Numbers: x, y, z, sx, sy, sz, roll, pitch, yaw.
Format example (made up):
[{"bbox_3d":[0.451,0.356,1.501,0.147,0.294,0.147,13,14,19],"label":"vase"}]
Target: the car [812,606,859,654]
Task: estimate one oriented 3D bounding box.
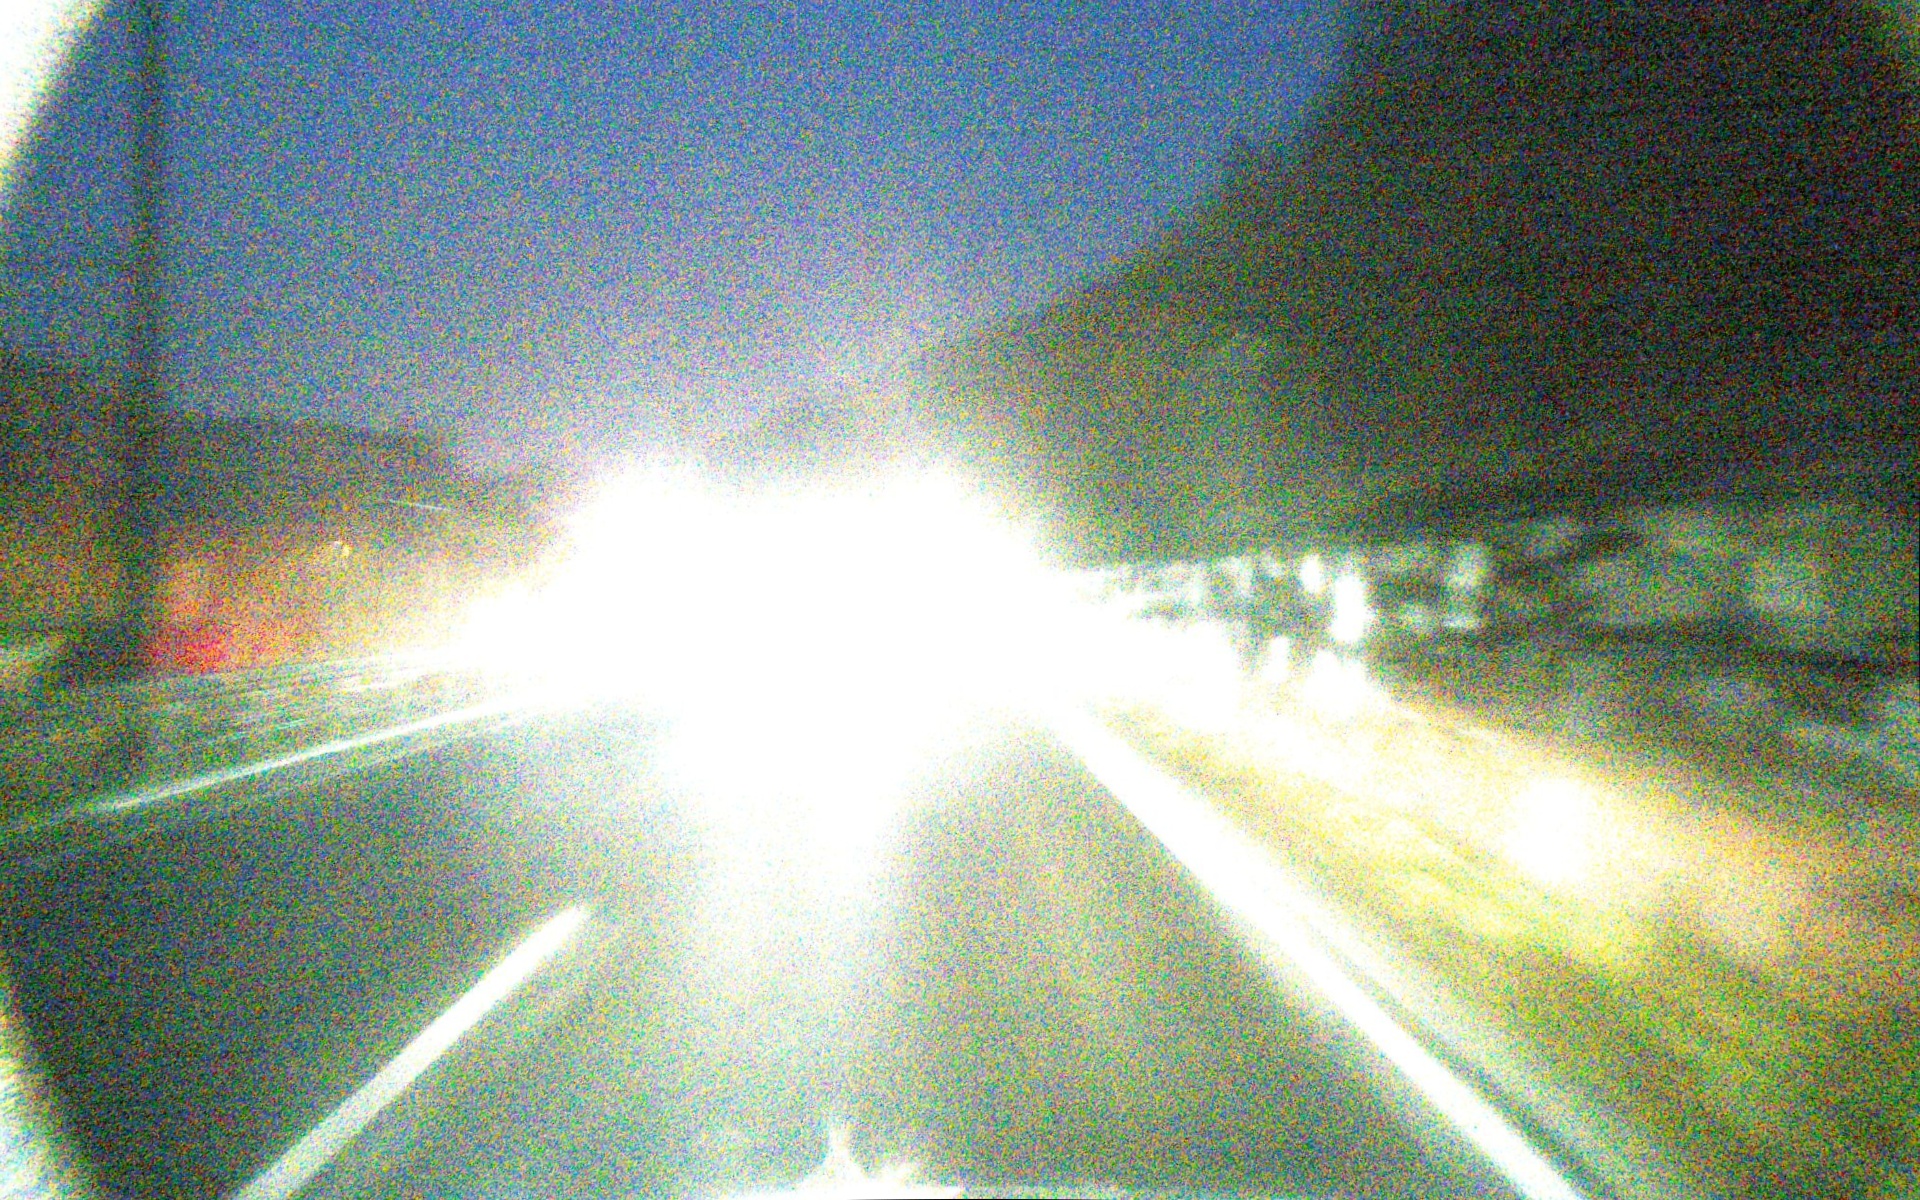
[{"bbox_3d":[-5.829,1.414,77.713,1.954,2.049,3.997,4,-2,-3],"label":"car"}]
